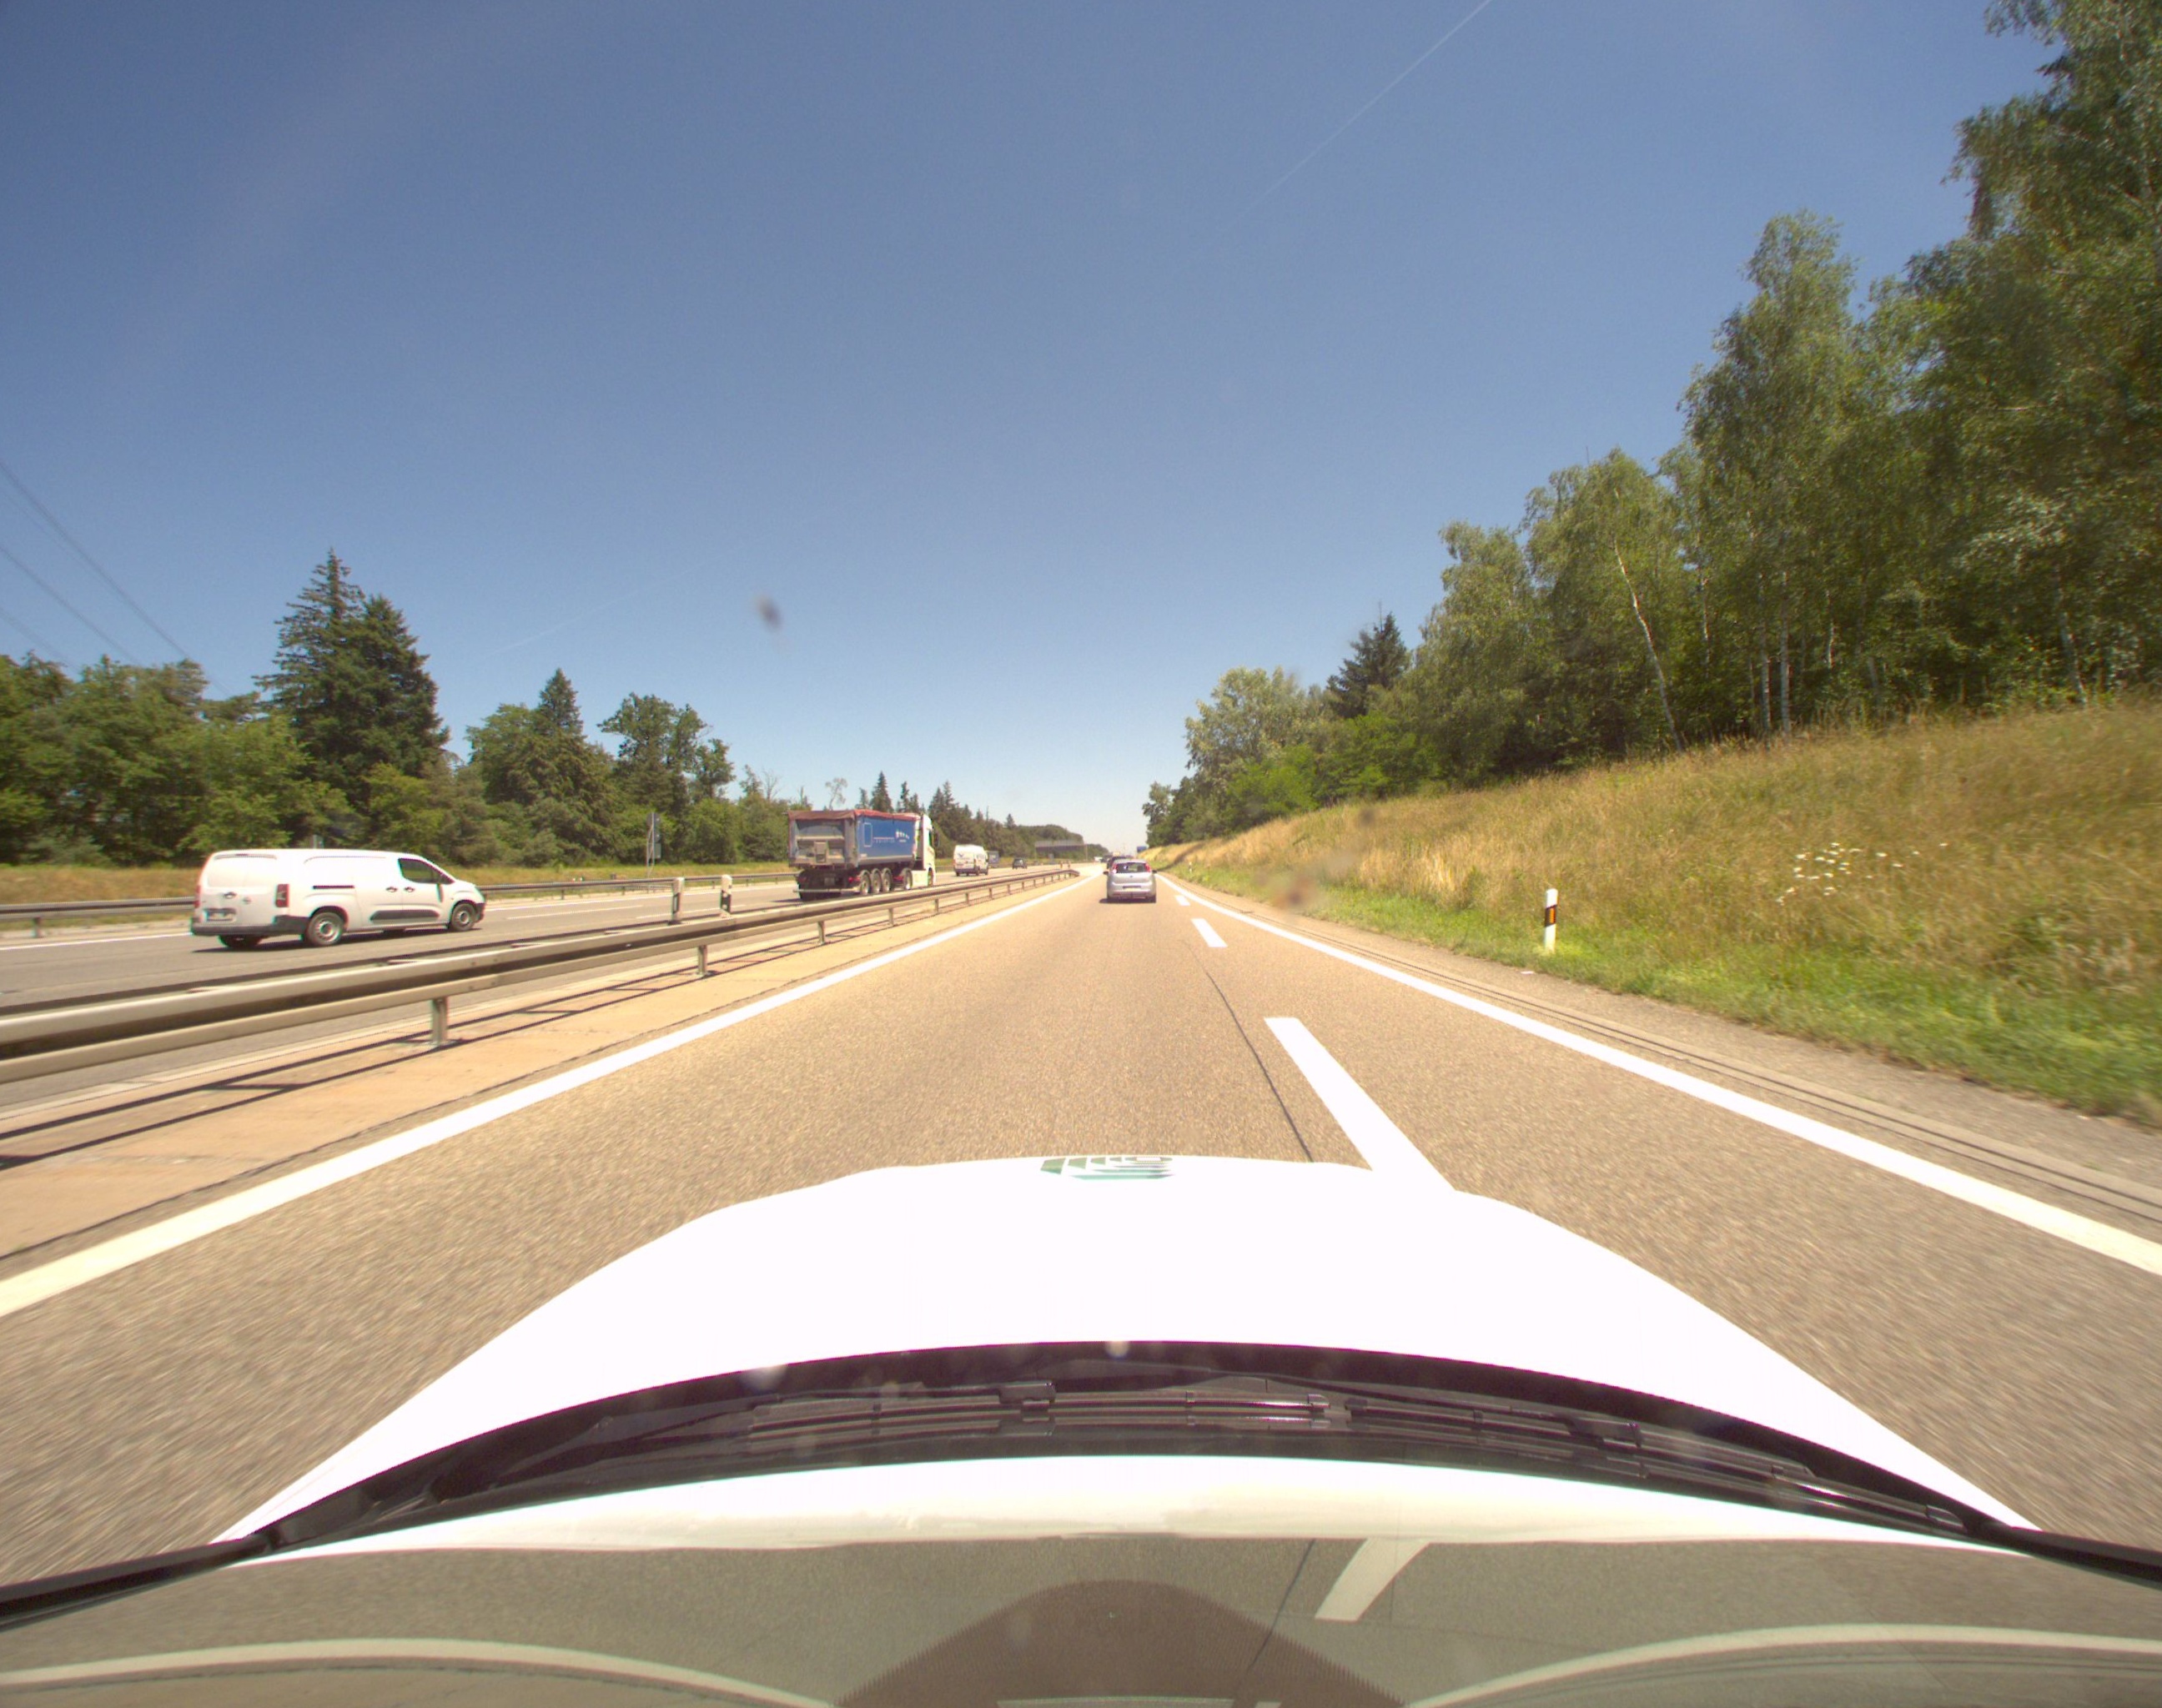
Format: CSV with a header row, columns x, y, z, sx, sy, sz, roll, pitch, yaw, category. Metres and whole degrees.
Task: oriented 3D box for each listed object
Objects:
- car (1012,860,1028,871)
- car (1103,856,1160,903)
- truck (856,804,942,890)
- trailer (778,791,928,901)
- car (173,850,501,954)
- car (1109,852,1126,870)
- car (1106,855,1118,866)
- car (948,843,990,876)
x,y,z,sx,sy,sz,roll,pitch,yaw,category
-9.326,1.741,124.633,1.986,1.618,4.002,-1,-2,2,car
1.687,0.830,28.259,1.701,1.482,3.396,-1,0,-1,car
-8.625,-0.321,39.120,2.744,3.807,4.626,-1,0,3,truck
-8.980,-0.300,33.656,2.759,3.807,9.895,-1,0,4,trailer
-14.554,0.838,16.475,1.764,1.754,5.025,-2,0,4,car
3.737,0.730,84.317,1.700,1.676,3.398,-1,-2,1,car
4.276,0.904,113.002,1.700,1.508,3.398,-1,-2,1,car
-10.180,0.570,74.594,2.622,2.897,6.477,-1,-2,2,car
